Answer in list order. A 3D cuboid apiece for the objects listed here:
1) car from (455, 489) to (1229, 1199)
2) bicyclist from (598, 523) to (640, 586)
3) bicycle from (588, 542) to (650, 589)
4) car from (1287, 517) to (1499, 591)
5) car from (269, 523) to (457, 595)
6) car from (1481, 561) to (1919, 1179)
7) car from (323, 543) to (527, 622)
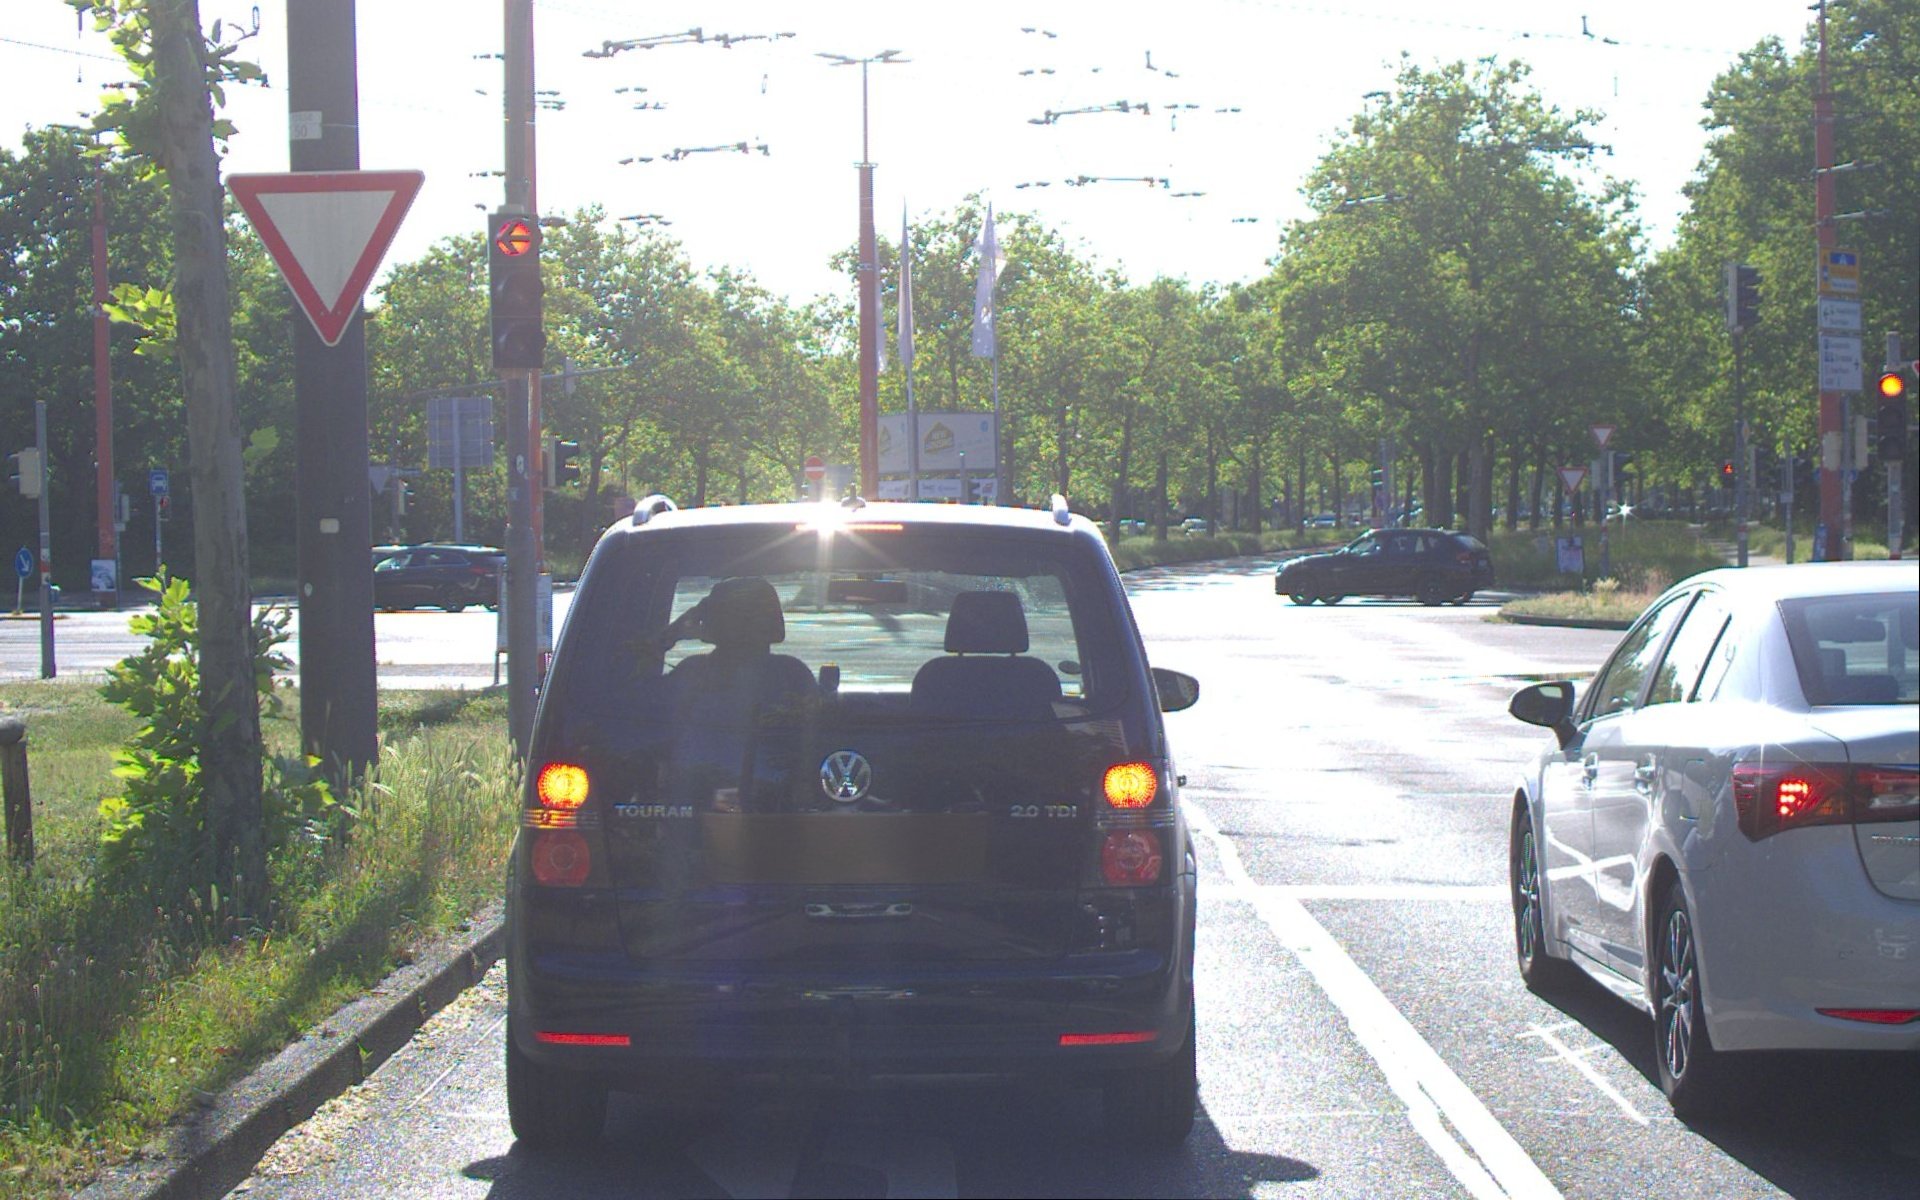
[{"bbox_3d":[-0.250,0.536,9.982,1.738,1.597,4.326,1,1,1],"label":"car"},{"bbox_3d":[-10.268,-1.377,103.687,0.977,1.897,1.050,0,1,12],"label":"bicyclist"},{"bbox_3d":[-10.275,-1.044,103.651,0.977,1.384,2.978,0,1,12],"label":"bicycle"},{"bbox_3d":[8.746,-0.940,69.479,3.920,1.452,1.654,1,1,27],"label":"car"},{"bbox_3d":[-14.109,-0.983,81.177,4.209,1.675,1.654,1,1,26],"label":"car"},{"bbox_3d":[2.760,0.617,10.161,1.799,1.435,4.326,1,1,1],"label":"car"},{"bbox_3d":[-11.730,-0.403,75.325,4.209,1.675,1.654,1,1,25],"label":"car"}]
